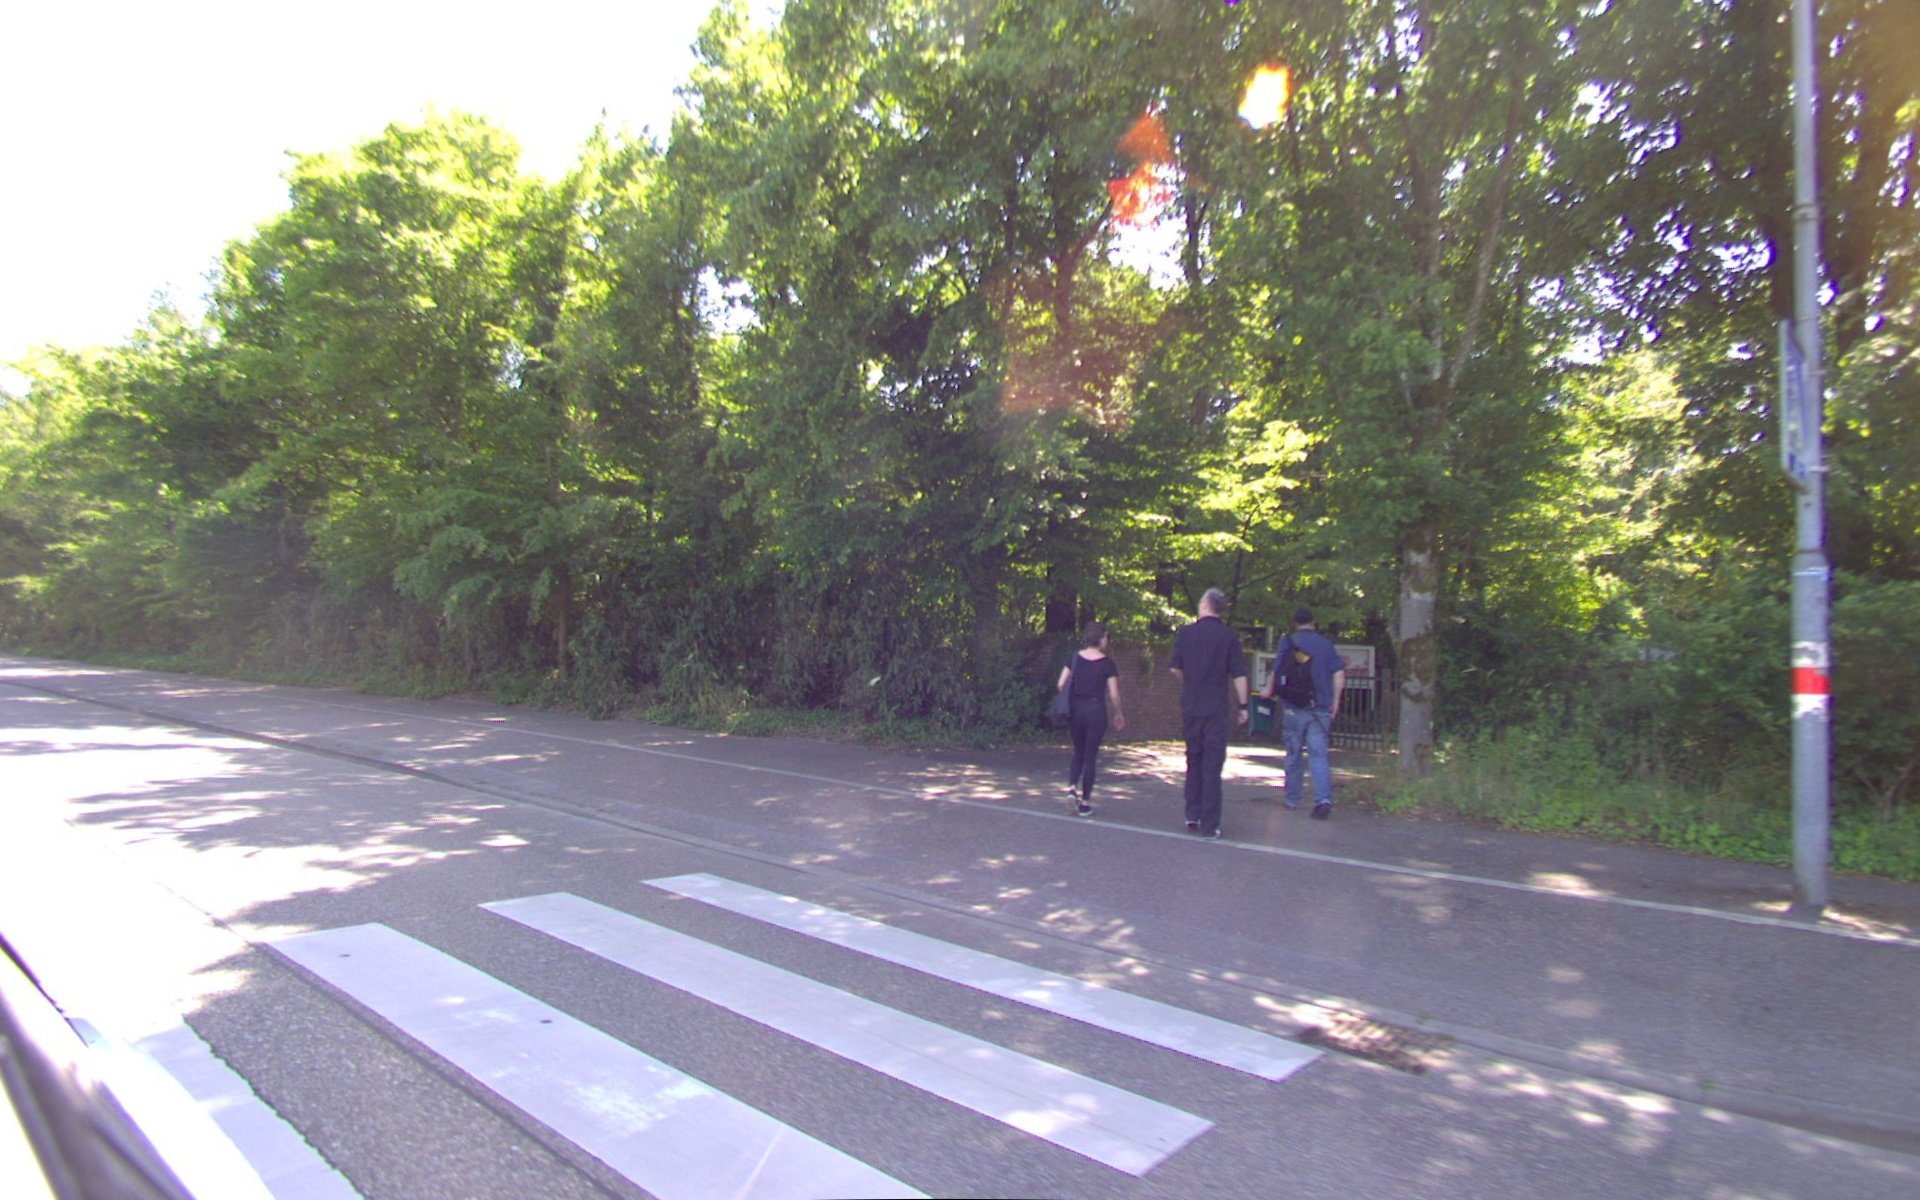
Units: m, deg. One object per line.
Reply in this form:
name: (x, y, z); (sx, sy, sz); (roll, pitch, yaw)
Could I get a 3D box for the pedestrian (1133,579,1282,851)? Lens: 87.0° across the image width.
pedestrian: (1.887, 0.793, 7.646); (0.781, 1.878, 1.074); (-1, 0, 32)

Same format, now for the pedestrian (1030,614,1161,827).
pedestrian: (1.136, 0.939, 8.406); (0.778, 1.623, 0.886); (-1, 0, 33)

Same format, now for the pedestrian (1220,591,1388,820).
pedestrian: (2.934, 0.844, 8.611); (1.021, 1.765, 1.144); (-2, -3, 37)
